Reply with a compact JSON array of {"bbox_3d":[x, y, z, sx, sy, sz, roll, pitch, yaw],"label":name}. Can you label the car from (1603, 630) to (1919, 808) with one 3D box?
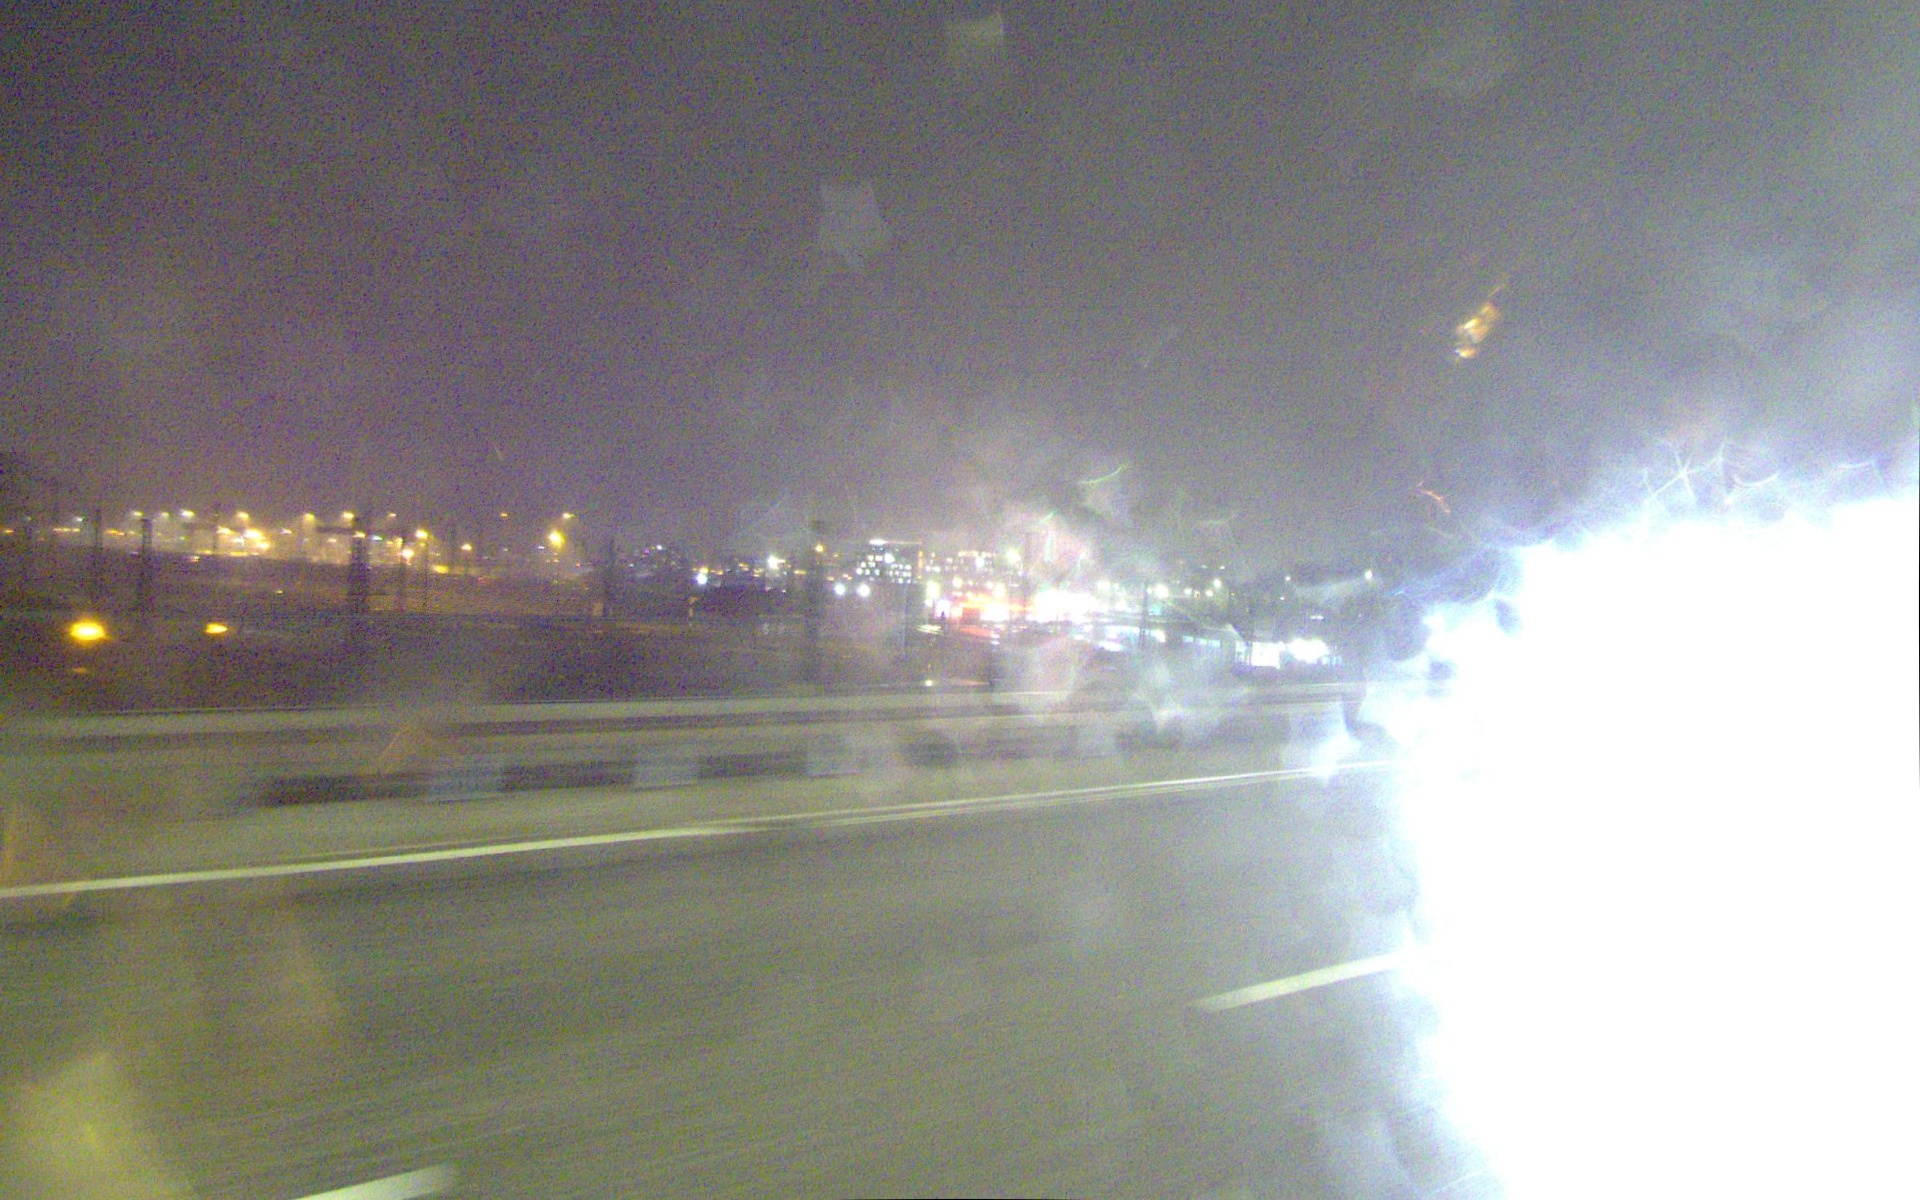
[{"bbox_3d":[8.544,1.081,10.376,4.407,1.409,1.671,2,0,-36],"label":"car"}]
